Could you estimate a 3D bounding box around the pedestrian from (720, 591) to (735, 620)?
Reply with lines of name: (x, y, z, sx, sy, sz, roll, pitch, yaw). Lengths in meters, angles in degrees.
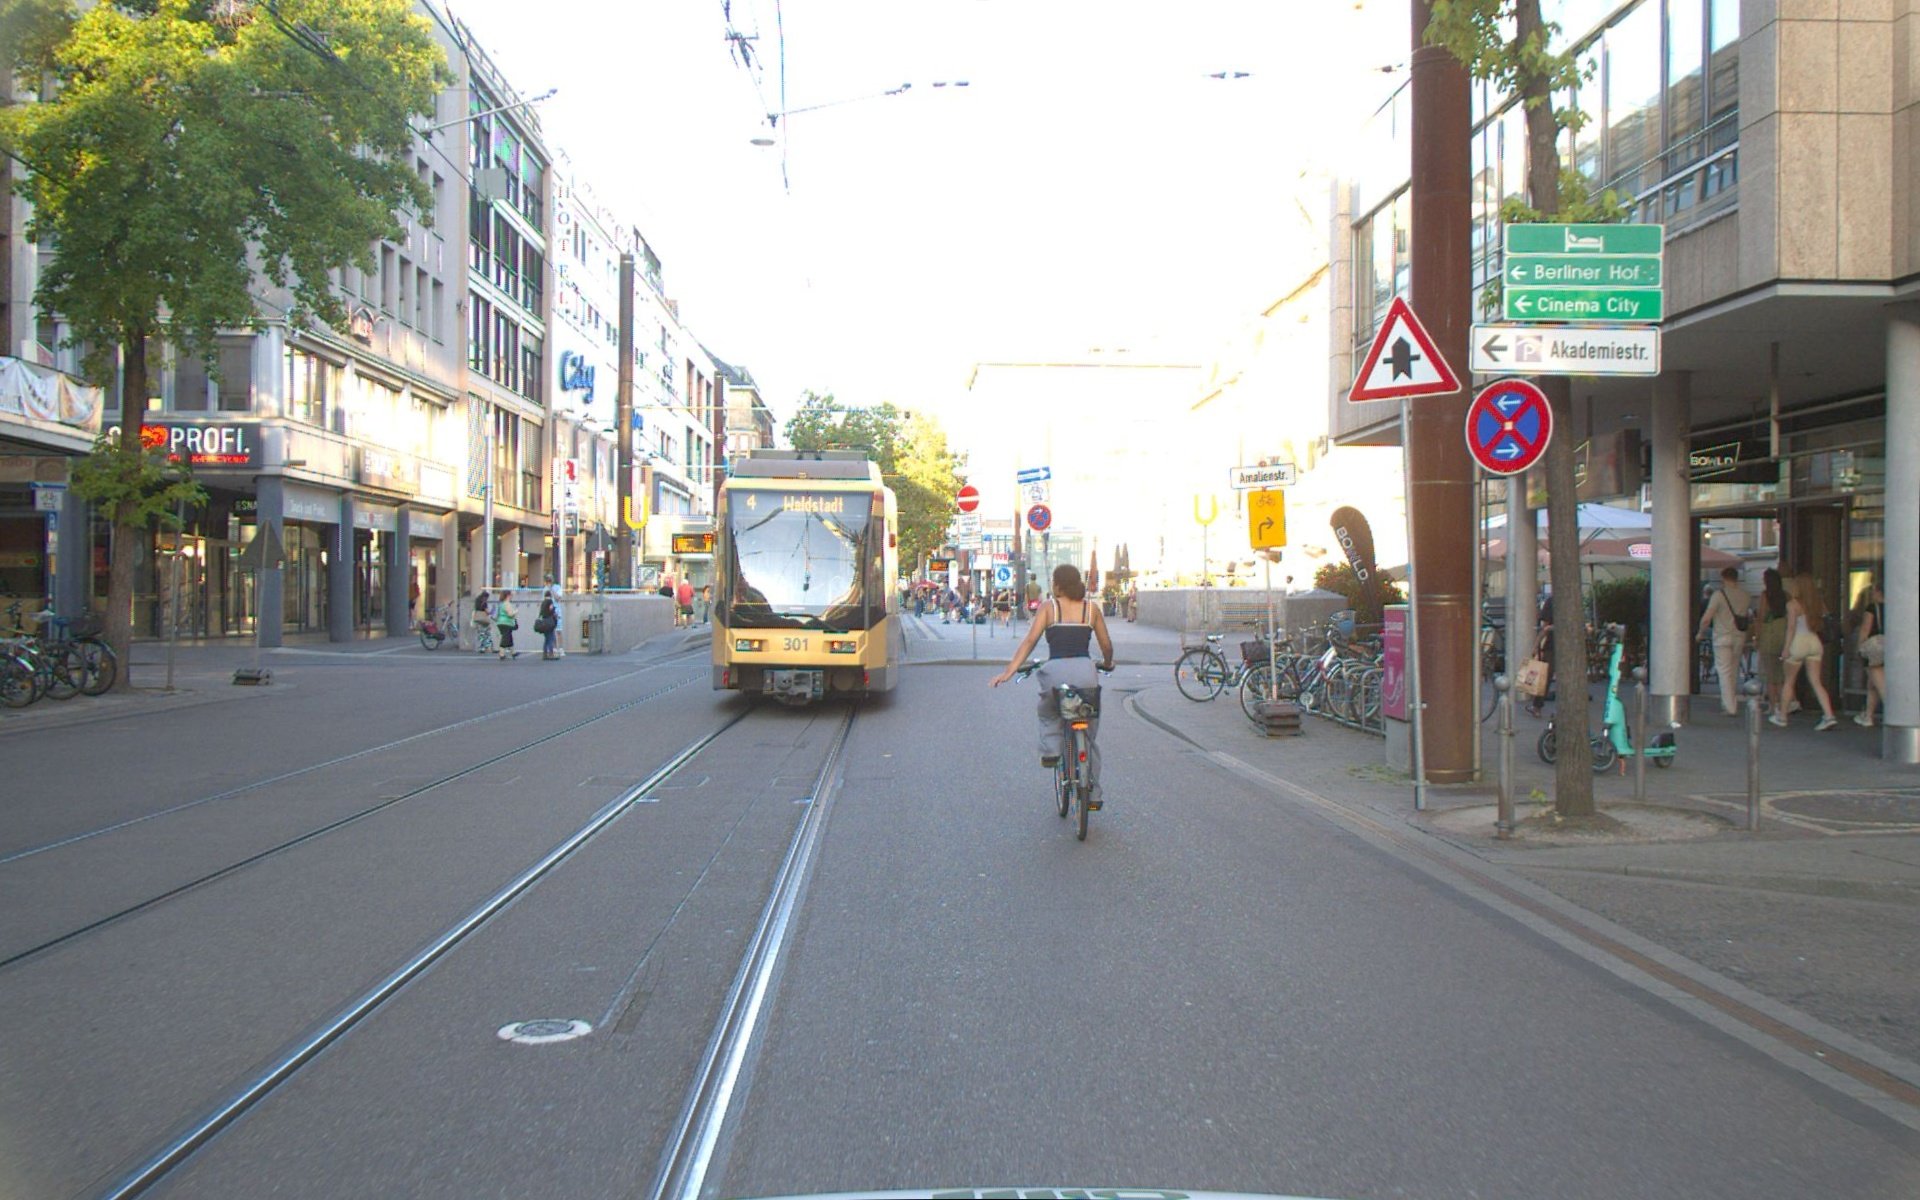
pedestrian: (-11.425, 0.283, 81.301, 0.693, 1.403, 0.720, 0, -1, -3)

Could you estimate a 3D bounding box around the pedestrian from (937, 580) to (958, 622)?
pedestrian: (-0.550, 0.048, 73.180, 0.722, 1.855, 0.816, 0, 0, -17)

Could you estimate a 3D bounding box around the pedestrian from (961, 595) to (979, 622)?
pedestrian: (0.462, 0.385, 77.003, 0.777, 1.243, 0.768, 0, 0, -6)

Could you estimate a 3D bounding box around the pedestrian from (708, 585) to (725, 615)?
pedestrian: (-11.228, -0.003, 76.258, 0.693, 1.403, 0.720, 0, -1, -3)

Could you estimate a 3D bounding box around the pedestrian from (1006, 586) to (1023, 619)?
pedestrian: (2.772, 0.115, 84.417, 0.775, 1.690, 0.770, 0, 0, 9)

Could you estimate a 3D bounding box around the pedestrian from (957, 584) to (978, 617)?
pedestrian: (0.360, 0.001, 80.879, 0.752, 1.606, 0.794, 0, 0, 27)

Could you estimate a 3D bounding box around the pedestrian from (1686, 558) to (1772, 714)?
pedestrian: (9.171, 0.427, 19.747, 0.649, 1.818, 0.719, -1, 0, -2)

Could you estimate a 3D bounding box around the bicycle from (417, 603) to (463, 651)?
bicycle: (-13.020, 0.670, 41.465, 0.488, 1.127, 1.801, 0, 2, 3)

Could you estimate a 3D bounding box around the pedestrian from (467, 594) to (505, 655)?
pedestrian: (-11.493, 0.584, 40.111, 0.544, 1.459, 0.682, -1, -1, 36)

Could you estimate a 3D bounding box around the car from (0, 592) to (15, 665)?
car: (-22.157, 0.584, 34.281, 4.039, 1.537, 1.798, 0, -1, -5)

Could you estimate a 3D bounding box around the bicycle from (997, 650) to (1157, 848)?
bicycle: (0.727, 0.929, 10.990, 0.798, 1.092, 2.112, 2, 0, -2)

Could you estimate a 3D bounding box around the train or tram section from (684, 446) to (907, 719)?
train or tram section: (-2.345, -0.268, 27.792, 2.744, 3.377, 14.501, 0, 0, -2)

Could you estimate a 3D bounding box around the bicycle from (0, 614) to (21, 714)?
bicycle: (-11.180, 0.666, 17.870, 1.736, 1.063, 0.489, 2, 0, -2)

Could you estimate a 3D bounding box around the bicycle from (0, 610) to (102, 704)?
bicycle: (-11.266, 0.669, 19.749, 1.736, 1.063, 0.489, 2, 0, -2)

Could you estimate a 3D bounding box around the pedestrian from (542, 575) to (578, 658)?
pedestrian: (-9.472, 0.392, 39.176, 0.759, 1.960, 0.708, 0, -1, -10)

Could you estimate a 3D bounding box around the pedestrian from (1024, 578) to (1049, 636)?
pedestrian: (2.322, 0.210, 50.493, 0.703, 1.756, 0.709, 0, -1, -2)

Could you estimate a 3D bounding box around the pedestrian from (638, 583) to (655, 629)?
pedestrian: (-11.106, 0.218, 58.650, 0.592, 1.616, 0.626, 0, -1, -12)

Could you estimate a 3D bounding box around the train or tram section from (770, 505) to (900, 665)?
train or tram section: (-2.948, -0.370, 42.281, 2.744, 3.377, 14.501, 0, 0, -2)

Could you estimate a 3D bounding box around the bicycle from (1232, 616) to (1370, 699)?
bicycle: (4.881, 0.813, 23.722, 1.816, 1.128, 0.666, -1, 0, -5)

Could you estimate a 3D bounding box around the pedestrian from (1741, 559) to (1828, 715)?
pedestrian: (9.849, 0.437, 19.775, 0.649, 1.818, 0.719, -1, 0, -2)

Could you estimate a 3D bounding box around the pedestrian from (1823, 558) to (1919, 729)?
pedestrian: (9.967, 0.469, 18.090, 0.649, 1.818, 0.719, -1, 0, -2)

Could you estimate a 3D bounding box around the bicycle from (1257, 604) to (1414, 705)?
bicycle: (5.022, 0.717, 22.171, 1.878, 1.244, 0.762, -2, 0, -7)

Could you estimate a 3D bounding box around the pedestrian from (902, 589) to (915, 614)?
pedestrian: (-3.497, 0.081, 112.276, 0.750, 1.690, 0.795, 0, 0, 7)

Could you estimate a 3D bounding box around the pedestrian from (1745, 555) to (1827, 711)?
pedestrian: (10.169, 0.406, 20.387, 0.649, 1.881, 0.719, -1, 0, 3)

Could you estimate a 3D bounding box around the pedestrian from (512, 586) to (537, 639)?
pedestrian: (-14.598, 0.428, 55.461, 0.699, 1.756, 0.709, 0, -1, -4)

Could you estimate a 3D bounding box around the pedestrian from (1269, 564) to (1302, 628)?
pedestrian: (10.619, -0.134, 53.969, 0.896, 2.049, 0.772, 1, 0, -1)

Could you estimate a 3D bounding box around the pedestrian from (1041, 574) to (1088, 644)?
pedestrian: (2.877, 0.255, 45.541, 0.996, 1.896, 1.039, 1, 0, -14)

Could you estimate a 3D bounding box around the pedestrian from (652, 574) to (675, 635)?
pedestrian: (-9.503, 0.143, 53.021, 0.700, 1.959, 0.708, 0, -1, -7)

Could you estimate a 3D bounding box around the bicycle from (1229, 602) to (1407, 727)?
bicycle: (4.187, 0.734, 19.398, 1.878, 1.356, 0.724, -2, 0, -7)

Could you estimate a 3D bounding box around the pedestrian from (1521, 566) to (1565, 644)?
pedestrian: (13.962, 0.107, 39.610, 0.791, 1.855, 0.806, 0, 1, 2)

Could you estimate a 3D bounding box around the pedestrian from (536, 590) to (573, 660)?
pedestrian: (-9.099, 0.556, 37.091, 0.670, 1.569, 0.605, 0, -1, 1)

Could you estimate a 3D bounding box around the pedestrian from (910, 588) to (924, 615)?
pedestrian: (-2.793, 0.082, 106.543, 0.775, 1.690, 0.770, 0, 0, 9)

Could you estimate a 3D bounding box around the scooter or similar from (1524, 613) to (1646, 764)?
scooter or similar: (5.617, 0.771, 14.850, 1.176, 1.273, 0.389, -1, 1, -32)

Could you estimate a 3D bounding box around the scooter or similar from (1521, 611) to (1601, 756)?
scooter or similar: (5.636, 0.760, 15.481, 0.385, 1.273, 1.187, 0, 1, 36)

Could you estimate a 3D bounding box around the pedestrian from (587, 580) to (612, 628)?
pedestrian: (-12.217, 0.146, 56.063, 0.623, 1.616, 0.595, 1, -1, -45)

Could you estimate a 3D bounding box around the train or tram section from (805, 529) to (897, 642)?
train or tram section: (-3.560, -0.476, 56.806, 2.744, 3.377, 14.501, 0, 0, -2)

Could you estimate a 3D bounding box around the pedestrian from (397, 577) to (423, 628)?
pedestrian: (-19.116, 0.103, 57.464, 0.699, 1.756, 0.709, 0, -1, -4)

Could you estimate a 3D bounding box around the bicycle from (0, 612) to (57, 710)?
bicycle: (-11.229, 0.667, 18.689, 1.736, 1.063, 0.489, 2, 0, -2)

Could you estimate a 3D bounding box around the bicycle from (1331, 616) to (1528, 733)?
bicycle: (5.204, 0.810, 18.382, 1.958, 1.175, 0.724, -2, 0, -7)

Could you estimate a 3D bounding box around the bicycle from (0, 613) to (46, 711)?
bicycle: (-11.223, 0.667, 18.447, 1.736, 1.063, 0.489, 2, 0, -2)

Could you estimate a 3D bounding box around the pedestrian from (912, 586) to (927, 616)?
pedestrian: (-2.273, 0.045, 92.914, 0.750, 1.690, 0.795, 0, 0, 10)

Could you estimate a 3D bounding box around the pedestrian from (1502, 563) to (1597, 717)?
pedestrian: (6.893, 0.461, 19.368, 0.748, 1.749, 0.923, -1, -1, -1)

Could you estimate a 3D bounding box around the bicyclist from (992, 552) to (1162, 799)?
bicyclist: (0.747, 0.473, 10.844, 0.977, 1.528, 0.856, 2, 0, -3)

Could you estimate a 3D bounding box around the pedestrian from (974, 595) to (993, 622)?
pedestrian: (1.082, 0.393, 76.224, 0.777, 1.243, 0.768, 0, 0, -6)

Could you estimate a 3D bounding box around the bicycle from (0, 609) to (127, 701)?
bicycle: (-11.251, 0.671, 20.331, 1.736, 1.063, 0.489, 2, 0, -2)

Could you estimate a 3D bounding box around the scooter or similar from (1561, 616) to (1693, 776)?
scooter or similar: (5.667, 0.787, 14.040, 1.102, 1.273, 0.491, -1, 1, -33)

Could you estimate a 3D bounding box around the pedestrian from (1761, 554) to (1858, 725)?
pedestrian: (9.240, 0.423, 18.012, 0.649, 1.818, 0.719, -1, 0, -2)

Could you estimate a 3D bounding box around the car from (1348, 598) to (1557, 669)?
car: (10.563, 0.715, 35.605, 3.959, 1.434, 1.774, 1, -1, -3)

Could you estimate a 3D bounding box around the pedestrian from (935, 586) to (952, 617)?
pedestrian: (-0.899, 0.069, 88.917, 0.775, 1.690, 0.770, 0, 0, 9)

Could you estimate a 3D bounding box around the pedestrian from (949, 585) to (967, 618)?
pedestrian: (-0.092, 0.070, 84.156, 0.775, 1.690, 0.770, 0, 0, 9)

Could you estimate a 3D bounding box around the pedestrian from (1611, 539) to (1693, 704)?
pedestrian: (8.757, 0.263, 20.959, 0.672, 2.049, 0.782, -1, 0, -2)

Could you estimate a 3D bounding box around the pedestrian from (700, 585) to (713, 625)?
pedestrian: (-10.461, 0.211, 68.301, 0.502, 1.646, 0.504, 0, -1, -11)

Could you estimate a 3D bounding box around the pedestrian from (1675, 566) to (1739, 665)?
pedestrian: (14.591, 0.295, 32.321, 0.787, 1.871, 0.874, 2, 0, -3)

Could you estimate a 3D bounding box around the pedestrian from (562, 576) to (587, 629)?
pedestrian: (-12.946, 0.077, 55.555, 0.595, 1.756, 0.624, -1, -1, 44)

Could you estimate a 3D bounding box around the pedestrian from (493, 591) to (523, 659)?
pedestrian: (-10.118, 0.557, 37.020, 0.592, 1.520, 0.554, 0, -1, -10)

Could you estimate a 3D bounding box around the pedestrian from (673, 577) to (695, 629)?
pedestrian: (-9.362, 0.101, 56.177, 0.700, 1.727, 0.784, 0, -1, -8)

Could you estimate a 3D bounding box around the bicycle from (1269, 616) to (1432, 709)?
bicycle: (5.046, 0.798, 21.425, 1.878, 1.096, 0.762, -2, 0, -7)

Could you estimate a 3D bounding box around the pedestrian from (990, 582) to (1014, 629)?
pedestrian: (1.657, 0.224, 65.235, 0.722, 1.855, 0.816, 0, 0, -17)

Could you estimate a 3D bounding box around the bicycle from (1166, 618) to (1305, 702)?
bicycle: (3.907, 0.840, 23.512, 1.816, 1.128, 0.666, -1, 0, -5)
